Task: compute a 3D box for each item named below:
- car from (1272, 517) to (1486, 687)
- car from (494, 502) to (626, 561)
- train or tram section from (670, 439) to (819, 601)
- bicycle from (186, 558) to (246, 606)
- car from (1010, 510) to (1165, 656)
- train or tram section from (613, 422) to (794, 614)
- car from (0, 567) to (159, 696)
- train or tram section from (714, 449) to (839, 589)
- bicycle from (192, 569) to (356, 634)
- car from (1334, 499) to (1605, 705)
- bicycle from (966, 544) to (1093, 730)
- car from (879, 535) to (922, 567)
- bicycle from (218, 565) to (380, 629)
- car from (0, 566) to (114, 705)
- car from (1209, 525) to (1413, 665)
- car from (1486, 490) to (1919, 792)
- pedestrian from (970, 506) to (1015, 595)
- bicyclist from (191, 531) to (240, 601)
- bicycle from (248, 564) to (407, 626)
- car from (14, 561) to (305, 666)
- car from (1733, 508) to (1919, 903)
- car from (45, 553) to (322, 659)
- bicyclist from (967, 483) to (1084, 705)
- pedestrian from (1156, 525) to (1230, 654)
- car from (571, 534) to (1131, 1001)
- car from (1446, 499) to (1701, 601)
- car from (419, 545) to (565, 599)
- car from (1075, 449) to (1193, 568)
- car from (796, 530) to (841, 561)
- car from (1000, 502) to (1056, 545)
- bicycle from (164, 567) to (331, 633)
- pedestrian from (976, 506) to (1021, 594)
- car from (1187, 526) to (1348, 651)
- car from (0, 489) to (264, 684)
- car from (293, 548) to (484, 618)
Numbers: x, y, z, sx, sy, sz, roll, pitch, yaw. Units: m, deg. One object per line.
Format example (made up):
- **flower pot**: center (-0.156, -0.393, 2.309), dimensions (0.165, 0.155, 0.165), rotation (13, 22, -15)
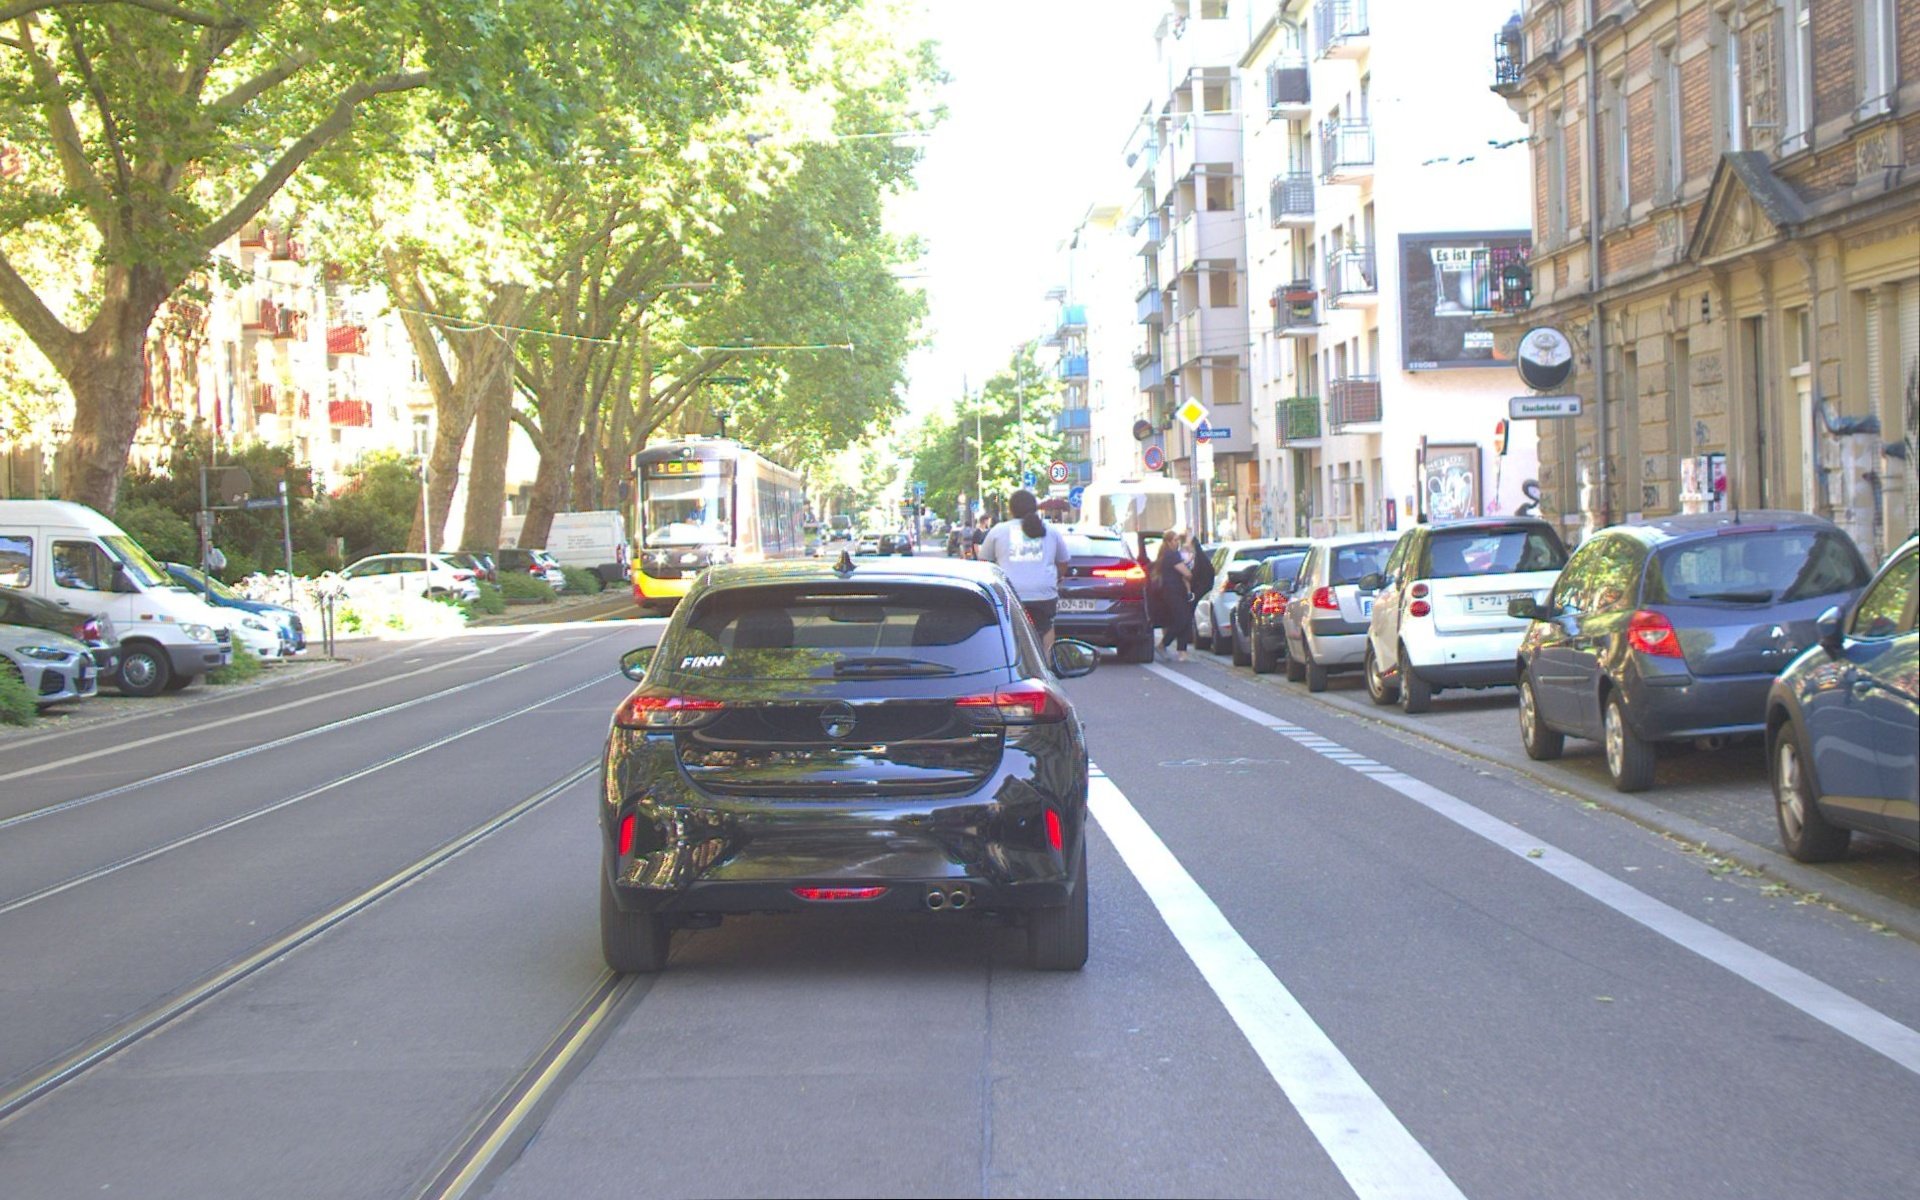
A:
- **car**: center (4.091, -0.026, 34.055), dimensions (1.705, 1.451, 3.697), rotation (-5, 1, 3)
- **car**: center (-12.225, -2.101, 105.150), dimensions (3.919, 1.784, 1.677), rotation (0, 1, -3)
- **train or tram section**: center (-5.288, -2.005, 86.616), dimensions (2.735, 3.669, 12.717), rotation (-2, 1, 0)
- **bicycle**: center (-18.923, -0.471, 87.544), dimensions (0.987, 1.165, 2.953), rotation (-1, 1, -2)
- **car**: center (1.541, -0.243, 42.716), dimensions (1.810, 1.736, 3.933), rotation (0, 1, 0)
- **train or tram section**: center (-5.351, -1.743, 73.929), dimensions (2.735, 3.669, 12.717), rotation (-2, 1, 0)
- **car**: center (-11.729, 0.369, 41.160), dimensions (3.919, 1.493, 1.677), rotation (0, 1, -3)
- **train or tram section**: center (-5.190, -2.311, 99.342), dimensions (2.735, 3.669, 12.717), rotation (-2, 1, 0)
- **bicycle**: center (-13.175, 0.024, 66.049), dimensions (2.945, 1.165, 0.989), rotation (-1, 1, 16)
- **car**: center (4.239, -0.010, 29.001), dimensions (1.567, 1.512, 3.041), rotation (-5, 1, -3)
- **bicycle**: center (0.534, 0.263, 27.680), dimensions (0.860, 1.402, 2.524), rotation (-1, 1, -2)
- **car**: center (-2.649, -2.171, 152.259), dimensions (1.810, 1.333, 3.933), rotation (-2, 1, -1)
- **bicycle**: center (-12.920, -0.061, 67.197), dimensions (2.945, 1.165, 0.989), rotation (-1, 1, 16)
- **car**: center (-11.535, 0.383, 38.052), dimensions (3.920, 1.493, 1.677), rotation (0, 1, 1)
- **car**: center (3.889, -0.095, 38.635), dimensions (1.810, 1.333, 3.933), rotation (-5, 1, 1)
- **car**: center (4.346, 0.185, 20.347), dimensions (1.710, 1.478, 3.764), rotation (-5, 1, -1)
- **pedestrian**: center (0.578, -0.887, 61.148), dimensions (0.679, 1.561, 0.769), rotation (-1, 1, 9)
- **bicyclist**: center (-18.944, -0.874, 87.520), dimensions (0.987, 1.750, 1.154), rotation (-1, 1, -2)
- **bicycle**: center (-12.557, -0.097, 68.268), dimensions (2.945, 1.165, 0.989), rotation (-1, 1, 16)
- **car**: center (-11.688, 0.184, 50.370), dimensions (3.919, 1.493, 1.677), rotation (0, 1, -3)
- **car**: center (4.536, 0.332, 13.786), dimensions (1.880, 1.451, 4.026), rotation (-5, 1, 1)
- **car**: center (-11.893, 0.075, 52.831), dimensions (3.919, 1.572, 1.677), rotation (0, 1, -3)
- **bicyclist**: center (0.518, -0.057, 27.708), dimensions (0.848, 1.734, 1.162), rotation (-1, 1, -2)
- **pedestrian**: center (2.873, -0.138, 42.390), dimensions (0.866, 1.561, 0.768), rotation (-1, 1, 4)
- **car**: center (-0.386, 0.513, 13.002), dimensions (1.794, 1.436, 3.532), rotation (-1, 2, -1)
- **car**: center (11.465, -0.947, 64.439), dimensions (4.377, 1.792, 1.876), rotation (-1, 1, -1)
- **car**: center (-13.028, -0.792, 95.888), dimensions (3.919, 1.493, 1.677), rotation (0, 1, -3)
- **car**: center (3.581, -1.889, 71.624), dimensions (2.075, 2.211, 4.933), rotation (-5, 1, 1)
- **car**: center (-6.427, -2.495, 156.086), dimensions (1.810, 1.333, 3.933), rotation (-2, 1, 1)
- **car**: center (2.402, -2.704, 121.835), dimensions (1.810, 1.333, 3.933), rotation (-5, 1, 1)
- **bicycle**: center (-13.431, -0.001, 64.824), dimensions (2.945, 1.165, 0.989), rotation (-1, 1, 16)
- **pedestrian**: center (0.690, -0.906, 61.964), dimensions (0.679, 1.561, 0.769), rotation (-1, 1, 9)
- **car**: center (3.981, -0.184, 45.014), dimensions (1.661, 1.414, 3.933), rotation (-5, 1, 1)
- **car**: center (-12.421, -0.178, 43.726), dimensions (6.628, 2.401, 2.458), rotation (0, 1, 0)
- **car**: center (-12.401, -0.376, 74.761), dimensions (3.919, 1.493, 1.677), rotation (0, 1, -3)
